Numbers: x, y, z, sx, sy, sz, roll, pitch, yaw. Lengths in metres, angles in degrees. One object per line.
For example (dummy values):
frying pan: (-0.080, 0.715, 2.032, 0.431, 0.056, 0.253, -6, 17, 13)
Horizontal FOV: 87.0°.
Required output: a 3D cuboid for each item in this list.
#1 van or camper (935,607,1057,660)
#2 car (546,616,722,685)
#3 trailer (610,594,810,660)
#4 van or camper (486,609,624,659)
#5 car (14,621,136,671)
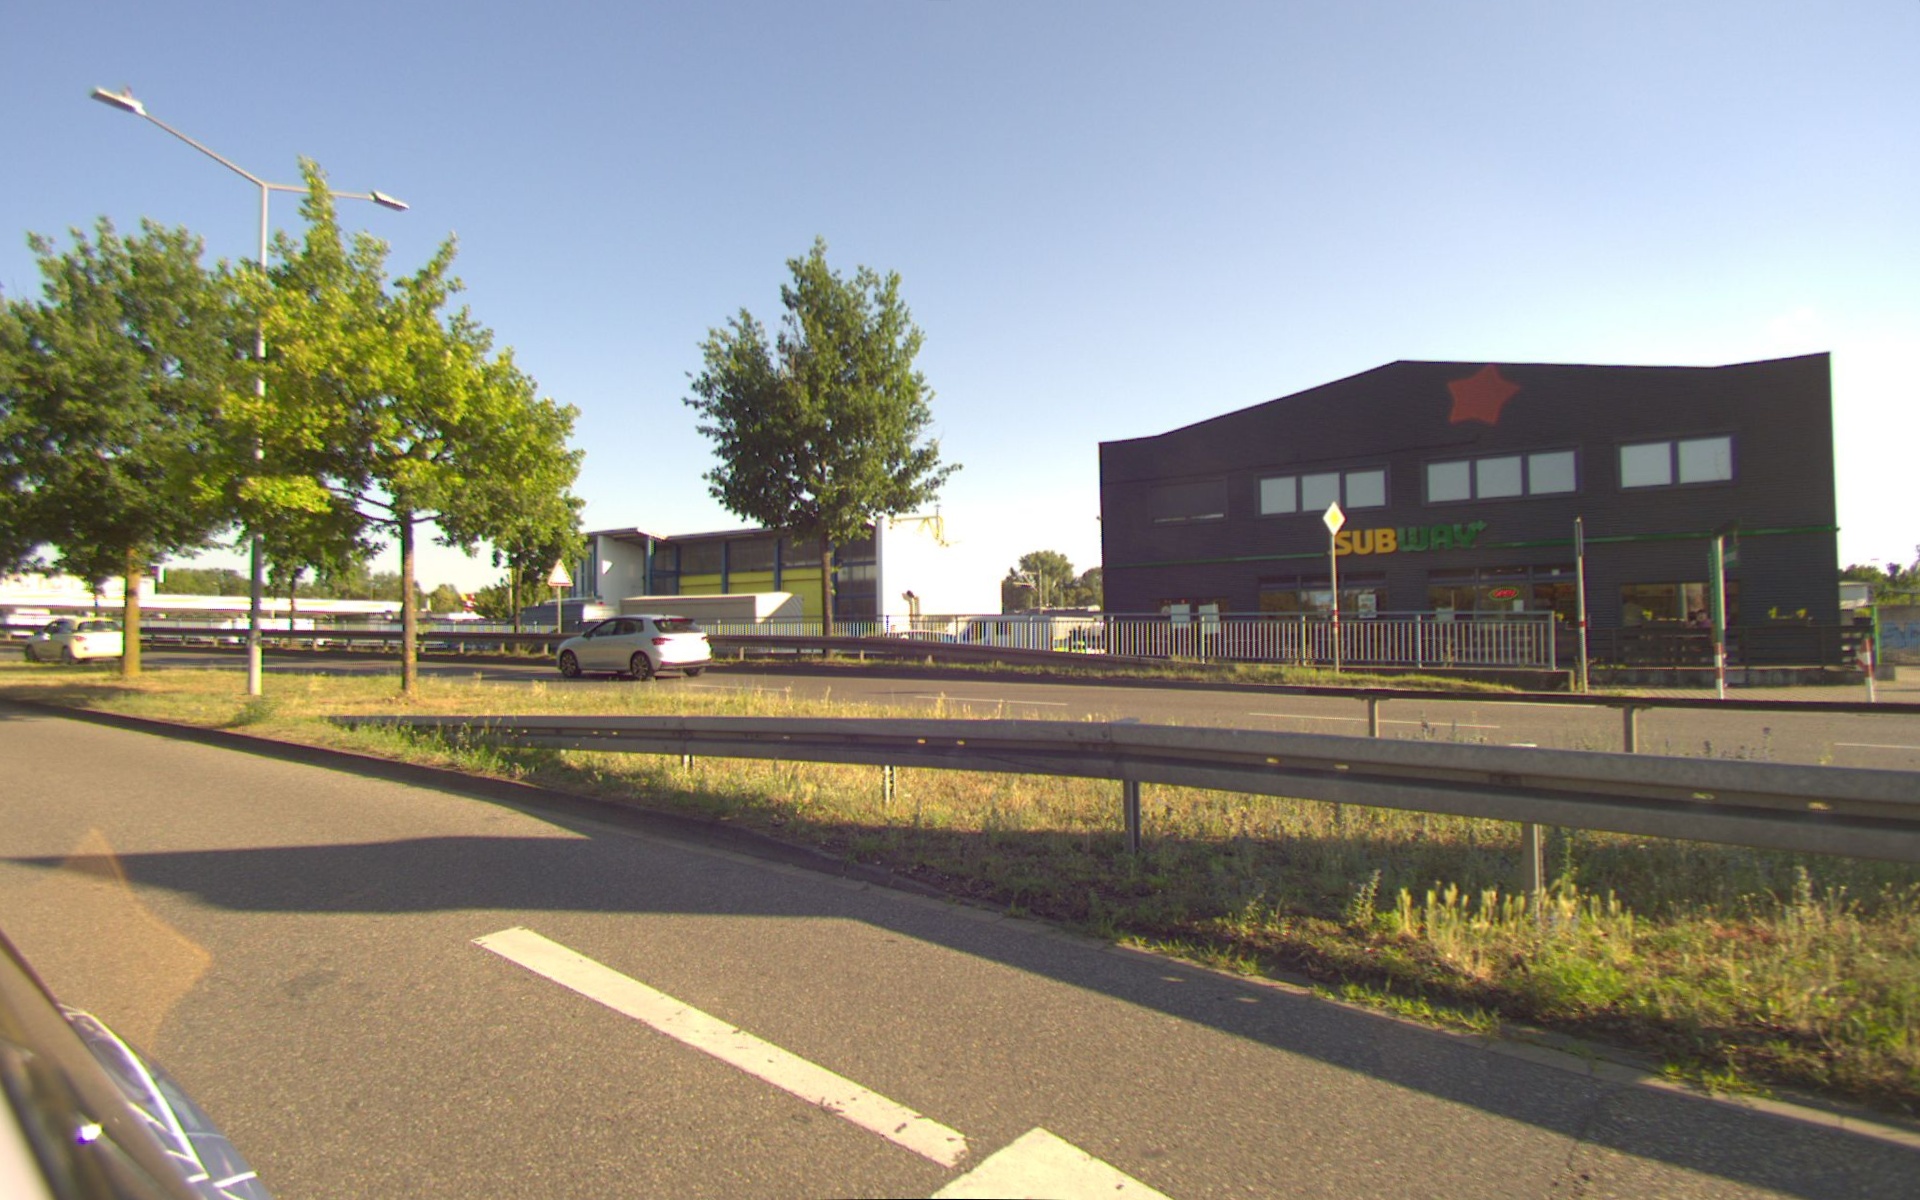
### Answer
van or camper: (1.366, 1.269, 38.513, 4.156, 1.940, 2.006, 1, -1, -26)
car: (-7.555, 1.106, 23.355, 4.092, 1.474, 1.659, -1, -1, 32)
trailer: (-8.245, 0.868, 33.140, 6.580, 1.985, 2.402, -1, -1, 31)
van or camper: (-14.677, 1.210, 36.613, 4.939, 1.698, 1.980, -1, -1, 29)
car: (-28.283, 1.442, 32.331, 3.747, 1.473, 1.730, -1, 0, 28)
